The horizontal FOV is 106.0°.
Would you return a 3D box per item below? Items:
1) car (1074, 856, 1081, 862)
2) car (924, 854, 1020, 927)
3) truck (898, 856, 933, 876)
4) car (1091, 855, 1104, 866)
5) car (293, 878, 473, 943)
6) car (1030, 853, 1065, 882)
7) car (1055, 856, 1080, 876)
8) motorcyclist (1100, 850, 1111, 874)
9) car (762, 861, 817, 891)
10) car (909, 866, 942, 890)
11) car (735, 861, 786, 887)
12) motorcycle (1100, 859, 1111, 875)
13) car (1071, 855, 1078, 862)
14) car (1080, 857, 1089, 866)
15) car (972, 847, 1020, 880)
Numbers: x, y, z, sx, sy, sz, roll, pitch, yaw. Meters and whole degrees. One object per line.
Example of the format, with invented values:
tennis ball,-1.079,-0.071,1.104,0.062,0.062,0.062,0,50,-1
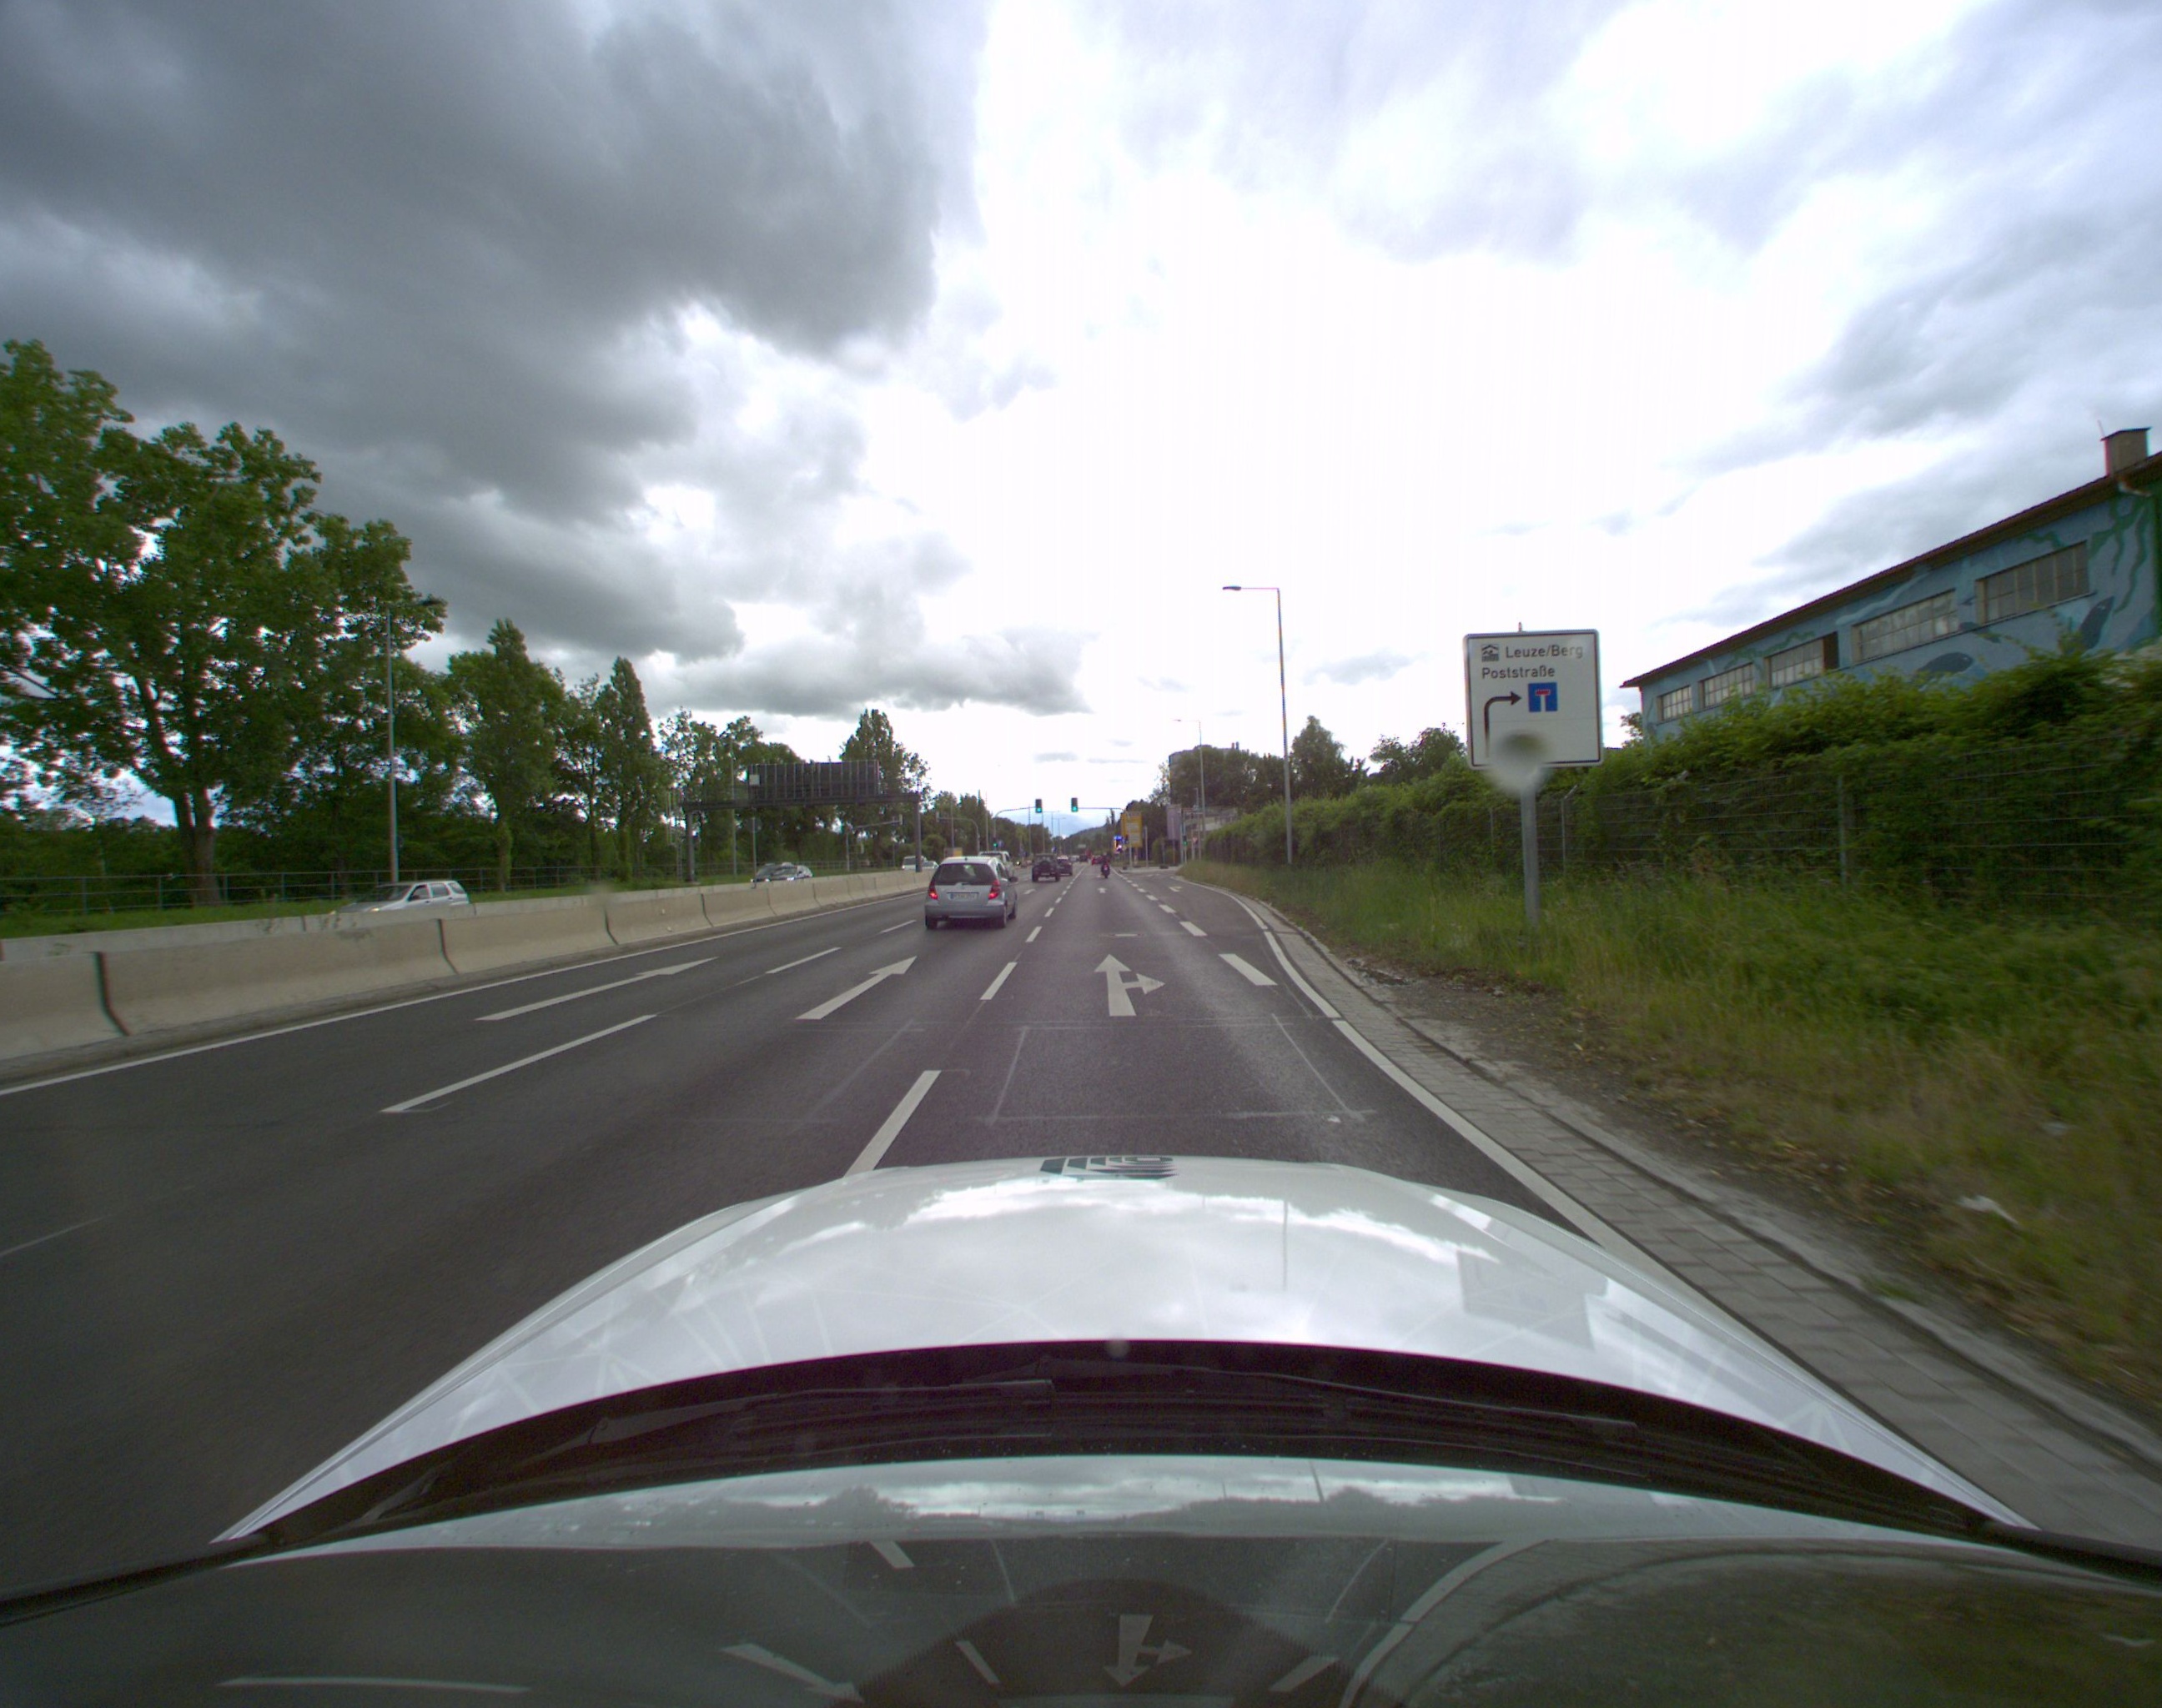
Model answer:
car,-0.998,1.518,257.145,1.986,2.013,4.001,0,0,1
car,-2.450,0.782,19.258,1.705,1.530,4.000,0,0,0
truck,-17.129,1.225,84.577,2.197,2.013,6.302,0,0,1
car,2.584,1.024,127.369,1.987,1.552,3.999,0,0,0
car,-21.030,1.642,24.796,1.871,1.683,4.123,0,0,1
car,-2.015,0.818,50.350,1.901,1.684,4.001,0,0,1
car,-1.027,0.945,64.680,1.834,1.464,4.000,0,0,1
motorcyclist,1.630,0.531,54.347,0.682,1.610,0.846,0,0,2
car,-17.804,1.324,49.938,1.871,1.683,4.126,0,0,1
car,-13.898,2.150,73.096,1.986,2.013,4.682,0,0,1
car,-21.706,1.321,55.330,1.871,1.683,3.928,0,0,1
motorcycle,1.622,0.864,54.274,0.703,1.040,2.028,0,0,3
car,-1.821,1.317,229.965,1.986,2.013,4.001,0,0,1
car,0.744,1.621,187.920,1.986,2.013,4.001,0,0,1
car,-5.063,0.539,49.227,2.206,1.925,5.004,0,0,1
